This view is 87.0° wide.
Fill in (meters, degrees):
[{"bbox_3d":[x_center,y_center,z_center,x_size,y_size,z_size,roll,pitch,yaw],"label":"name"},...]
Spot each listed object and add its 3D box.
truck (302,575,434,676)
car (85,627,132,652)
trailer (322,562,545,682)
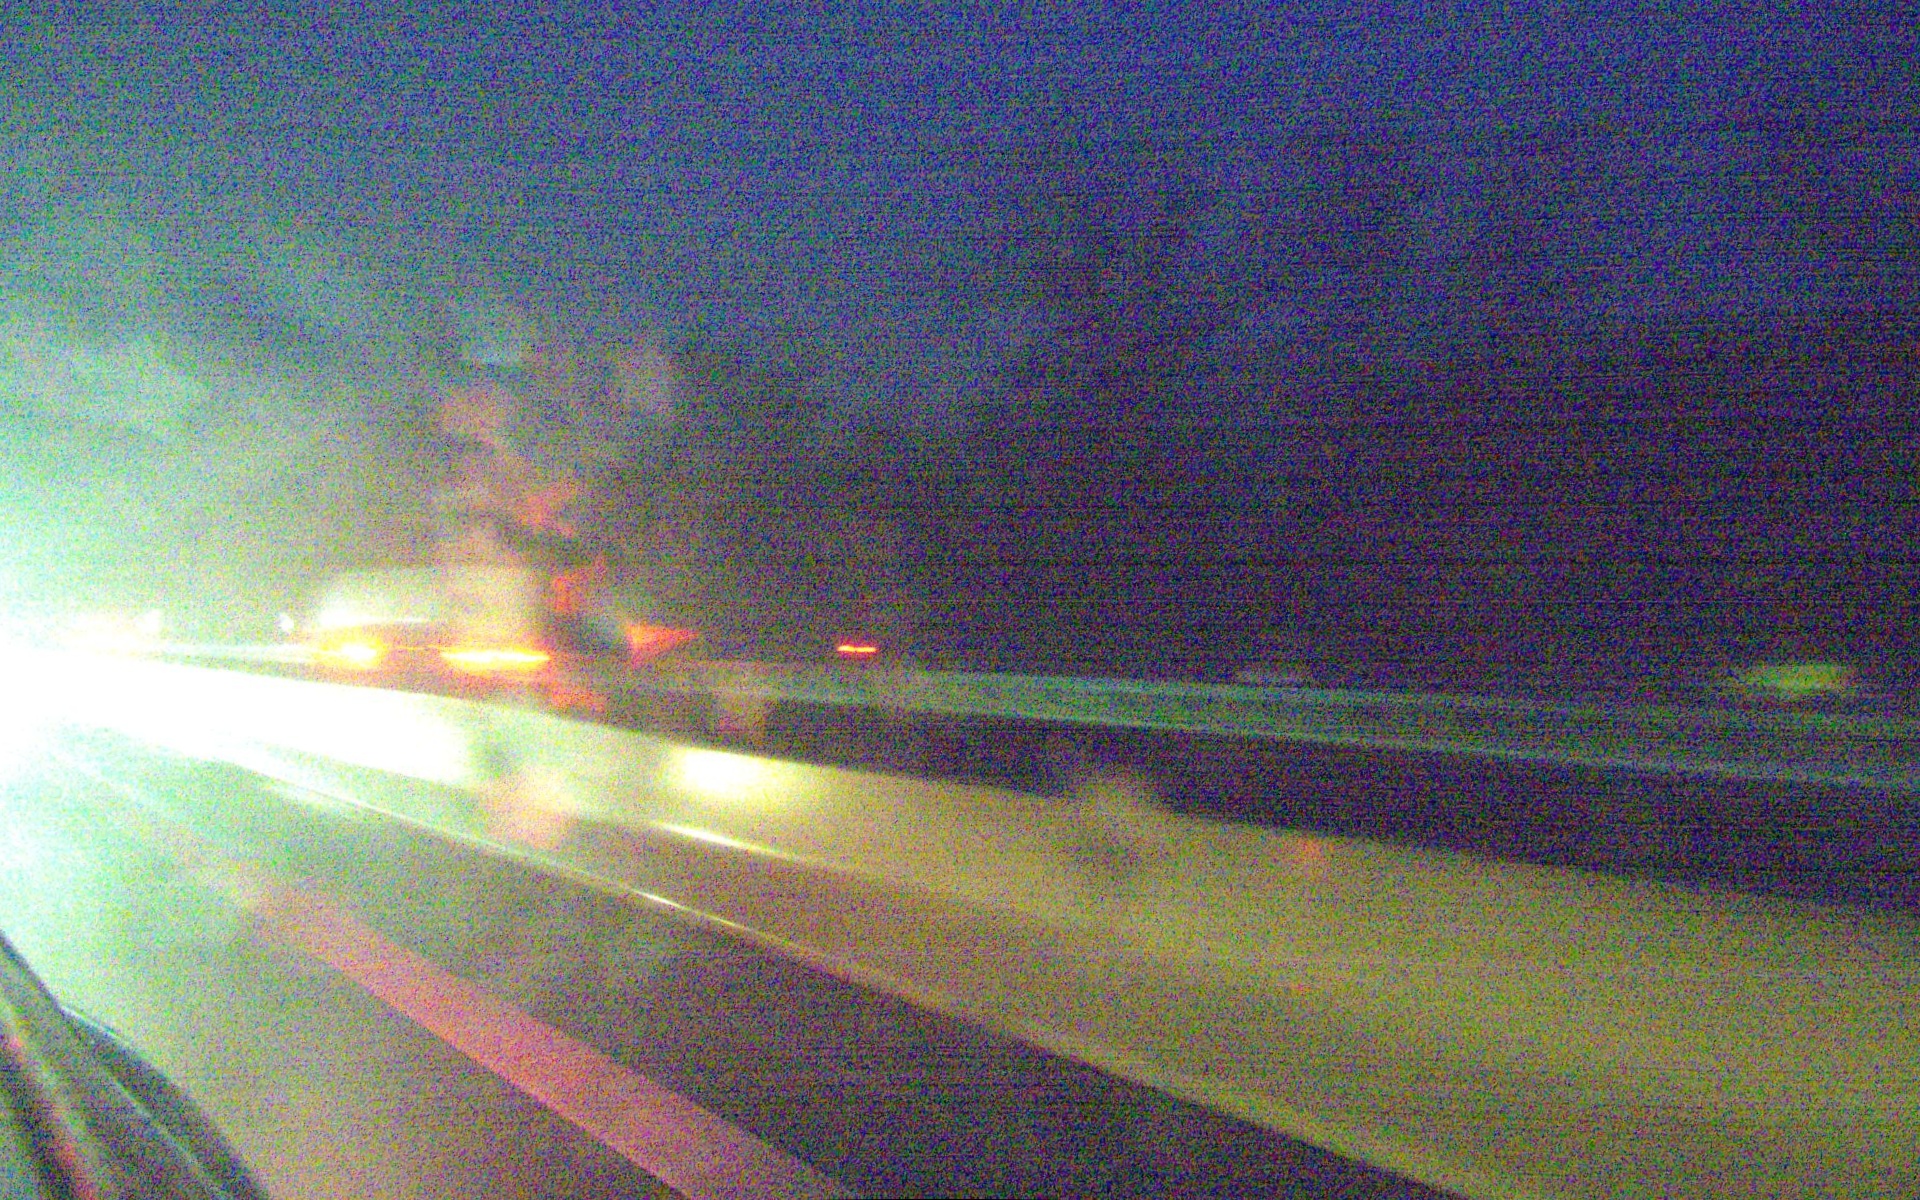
[{"bbox_3d":[-26.232,1.156,44.739,6.990,4.126,2.890,-2,-3,41],"label":"truck"},{"bbox_3d":[-56.669,2.598,67.359,3.971,1.586,1.778,-1,-2,41],"label":"car"},{"bbox_3d":[-21.519,0.988,40.612,14.214,4.126,2.936,-2,-3,41],"label":"trailer"}]
